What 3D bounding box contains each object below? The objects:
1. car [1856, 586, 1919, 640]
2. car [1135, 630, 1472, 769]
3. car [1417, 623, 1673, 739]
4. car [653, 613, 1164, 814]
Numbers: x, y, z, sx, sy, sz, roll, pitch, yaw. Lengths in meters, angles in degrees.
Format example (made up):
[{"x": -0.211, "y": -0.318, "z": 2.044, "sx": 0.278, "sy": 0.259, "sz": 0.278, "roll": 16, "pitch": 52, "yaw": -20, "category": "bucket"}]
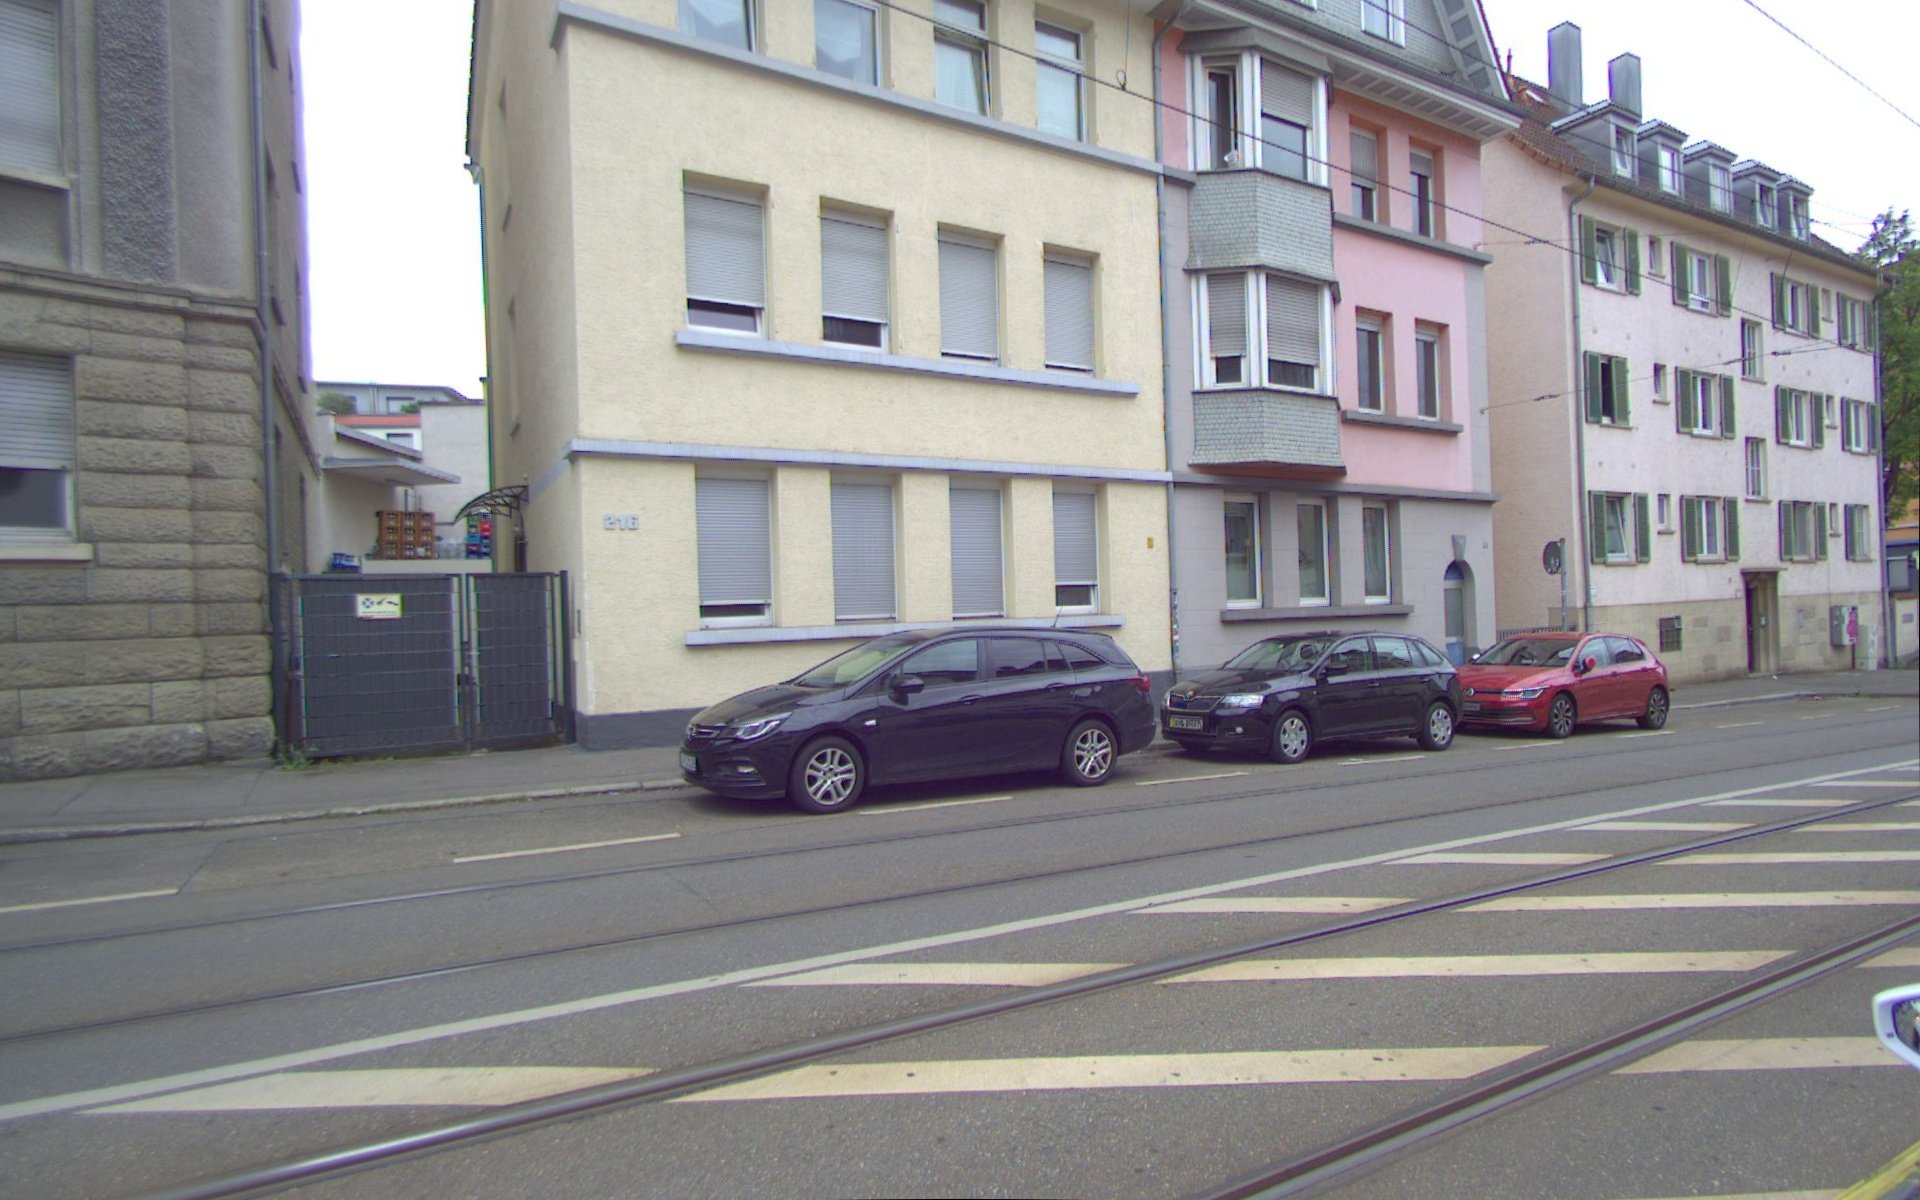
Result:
[{"x": 39.482, "y": 0.536, "z": 41.220, "sx": 1.959, "sy": 2.146, "sz": 4.243, "roll": 0, "pitch": -1, "yaw": 6, "category": "car"}, {"x": 4.205, "y": 1.086, "z": 12.185, "sx": 3.953, "sy": 1.428, "sz": 1.728, "roll": 1, "pitch": -2, "yaw": -30, "category": "car"}, {"x": 8.744, "y": 1.146, "z": 14.935, "sx": 4.002, "sy": 1.510, "sz": 1.612, "roll": 2, "pitch": -3, "yaw": -32, "category": "car"}, {"x": -0.367, "y": 0.929, "z": 9.295, "sx": 4.502, "sy": 1.493, "sz": 1.613, "roll": 2, "pitch": -3, "yaw": -30, "category": "car"}]
